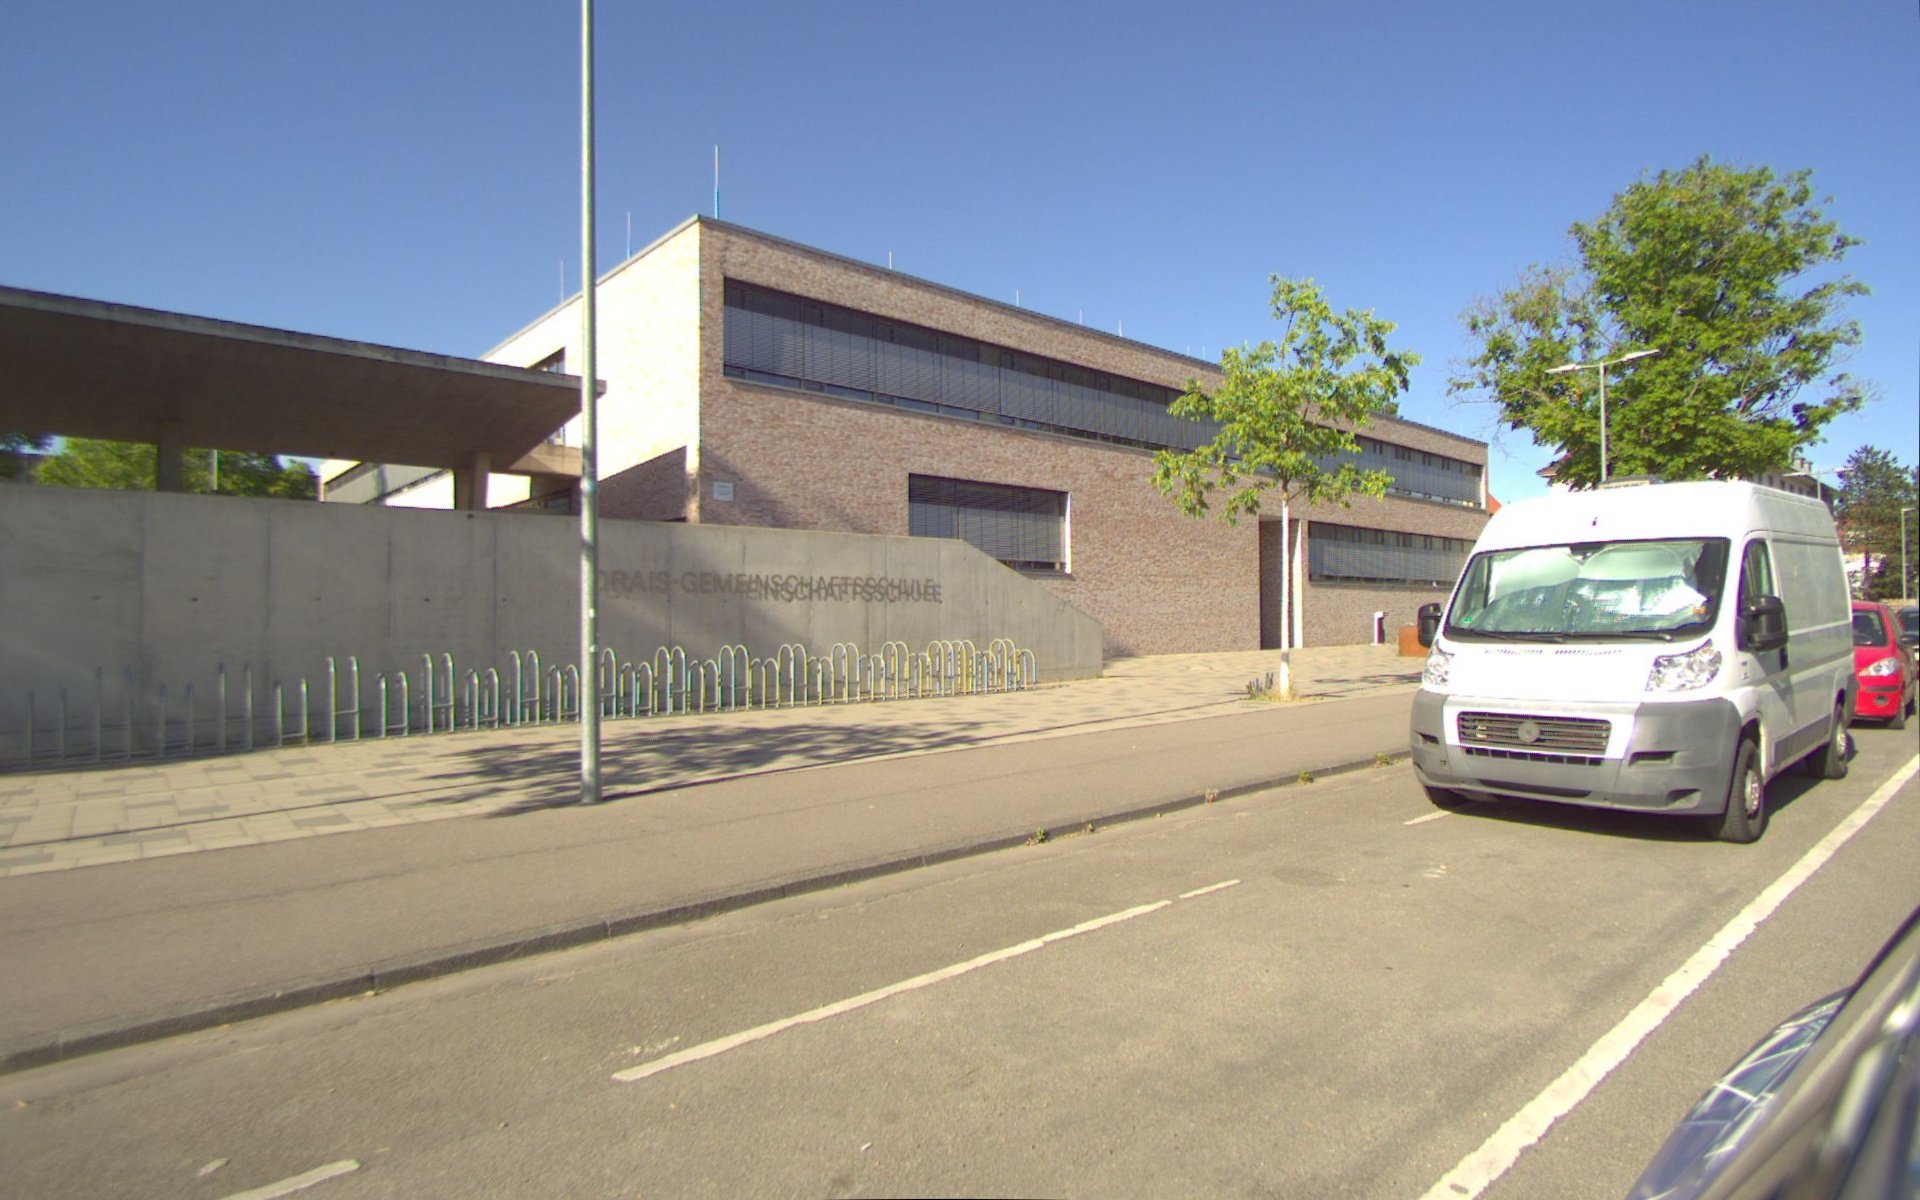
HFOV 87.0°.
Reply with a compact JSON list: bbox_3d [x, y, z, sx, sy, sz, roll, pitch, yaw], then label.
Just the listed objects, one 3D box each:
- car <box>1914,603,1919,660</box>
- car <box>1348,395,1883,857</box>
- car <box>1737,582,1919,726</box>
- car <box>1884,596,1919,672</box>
[{"bbox_3d":[24.698,0.729,24.683,4.058,1.342,1.703,0,-1,-42],"label":"car"},{"bbox_3d":[5.617,0.151,8.319,5.337,2.607,2.244,0,-1,-41],"label":"car"},{"bbox_3d":[11.476,0.623,13.157,3.531,1.609,1.621,0,-1,-43],"label":"car"},{"bbox_3d":[20.710,0.657,21.048,4.100,1.497,1.704,0,-1,-41],"label":"car"}]
